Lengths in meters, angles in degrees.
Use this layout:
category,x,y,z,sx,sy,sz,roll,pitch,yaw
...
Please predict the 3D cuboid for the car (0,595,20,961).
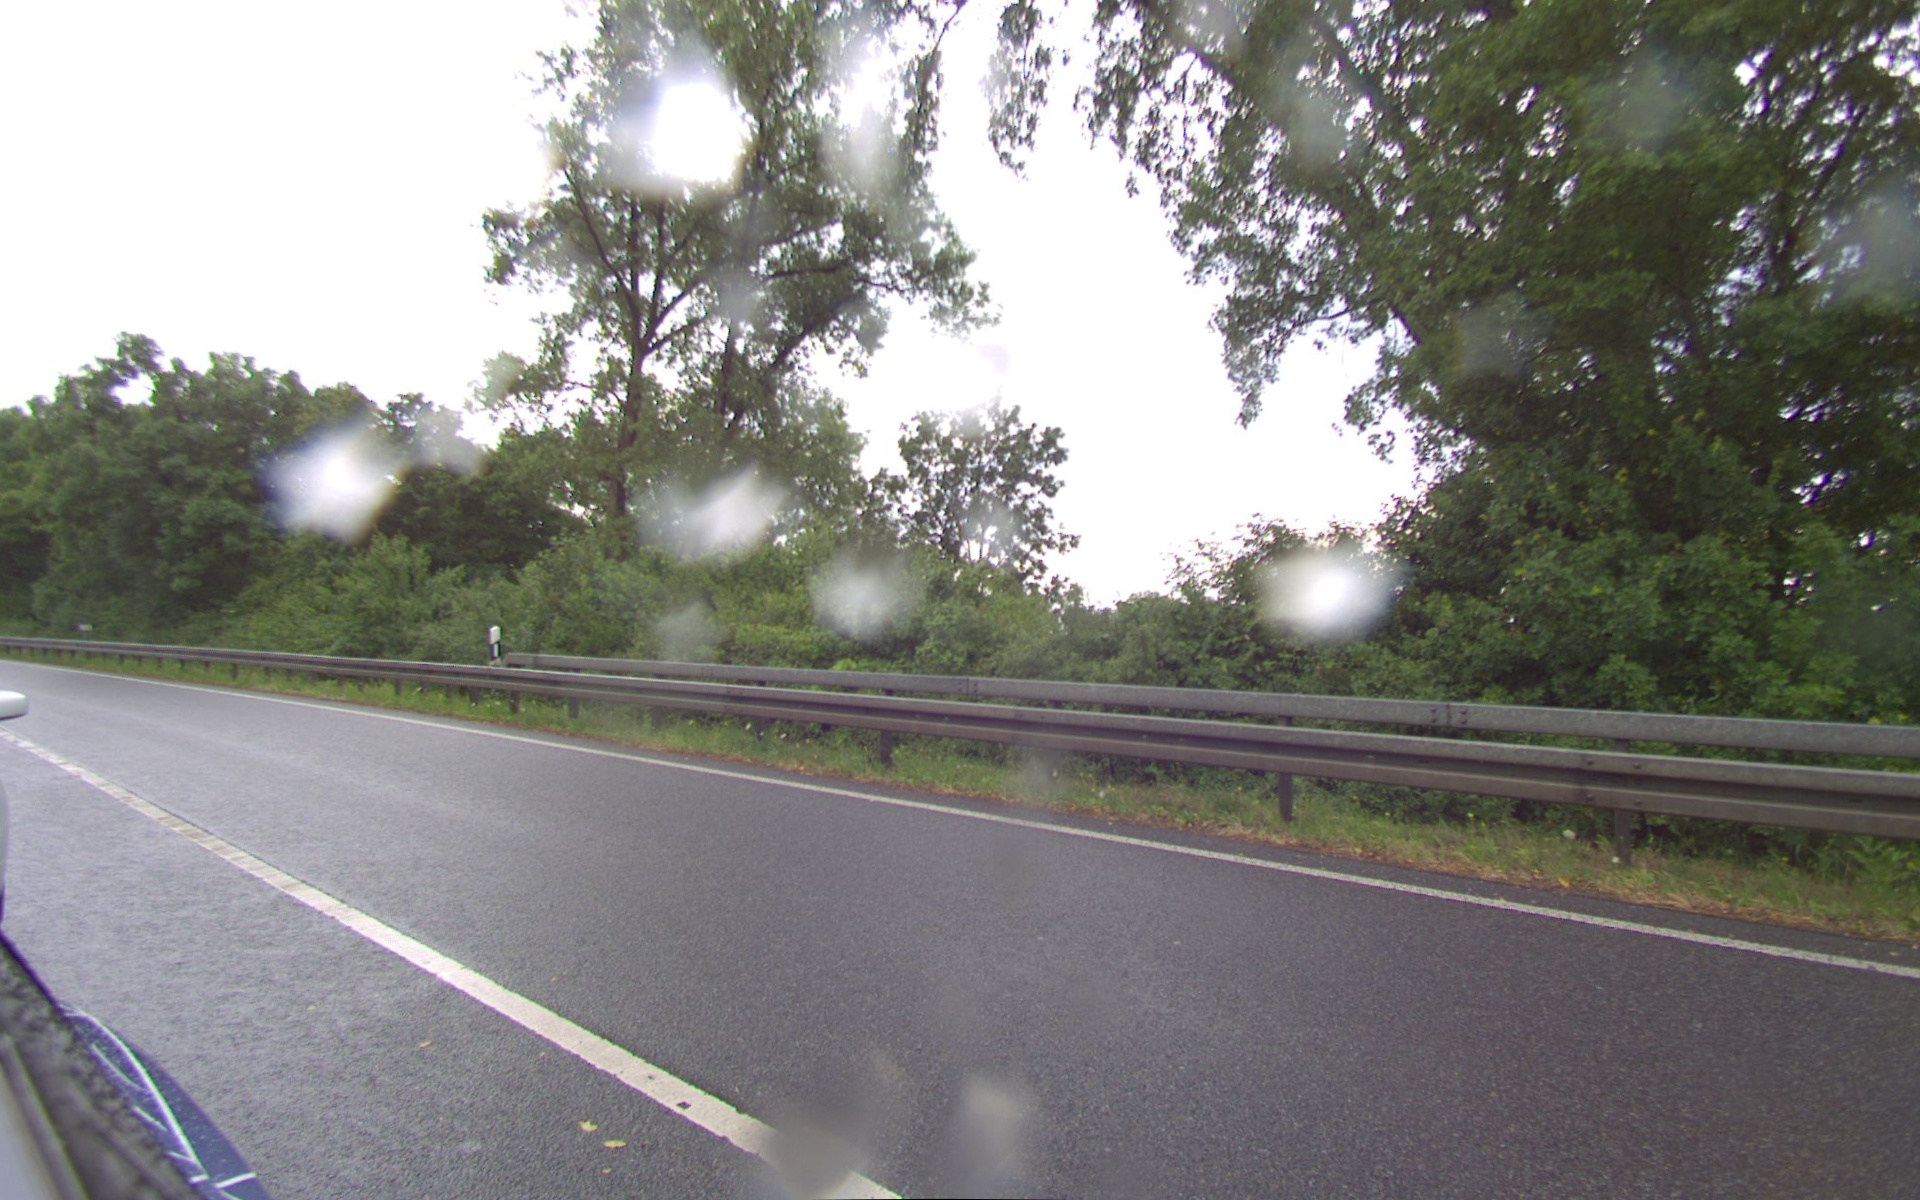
category,x,y,z,sx,sy,sz,roll,pitch,yaw
car,-5.933,0.753,4.898,4.062,1.491,1.678,-1,-1,42
